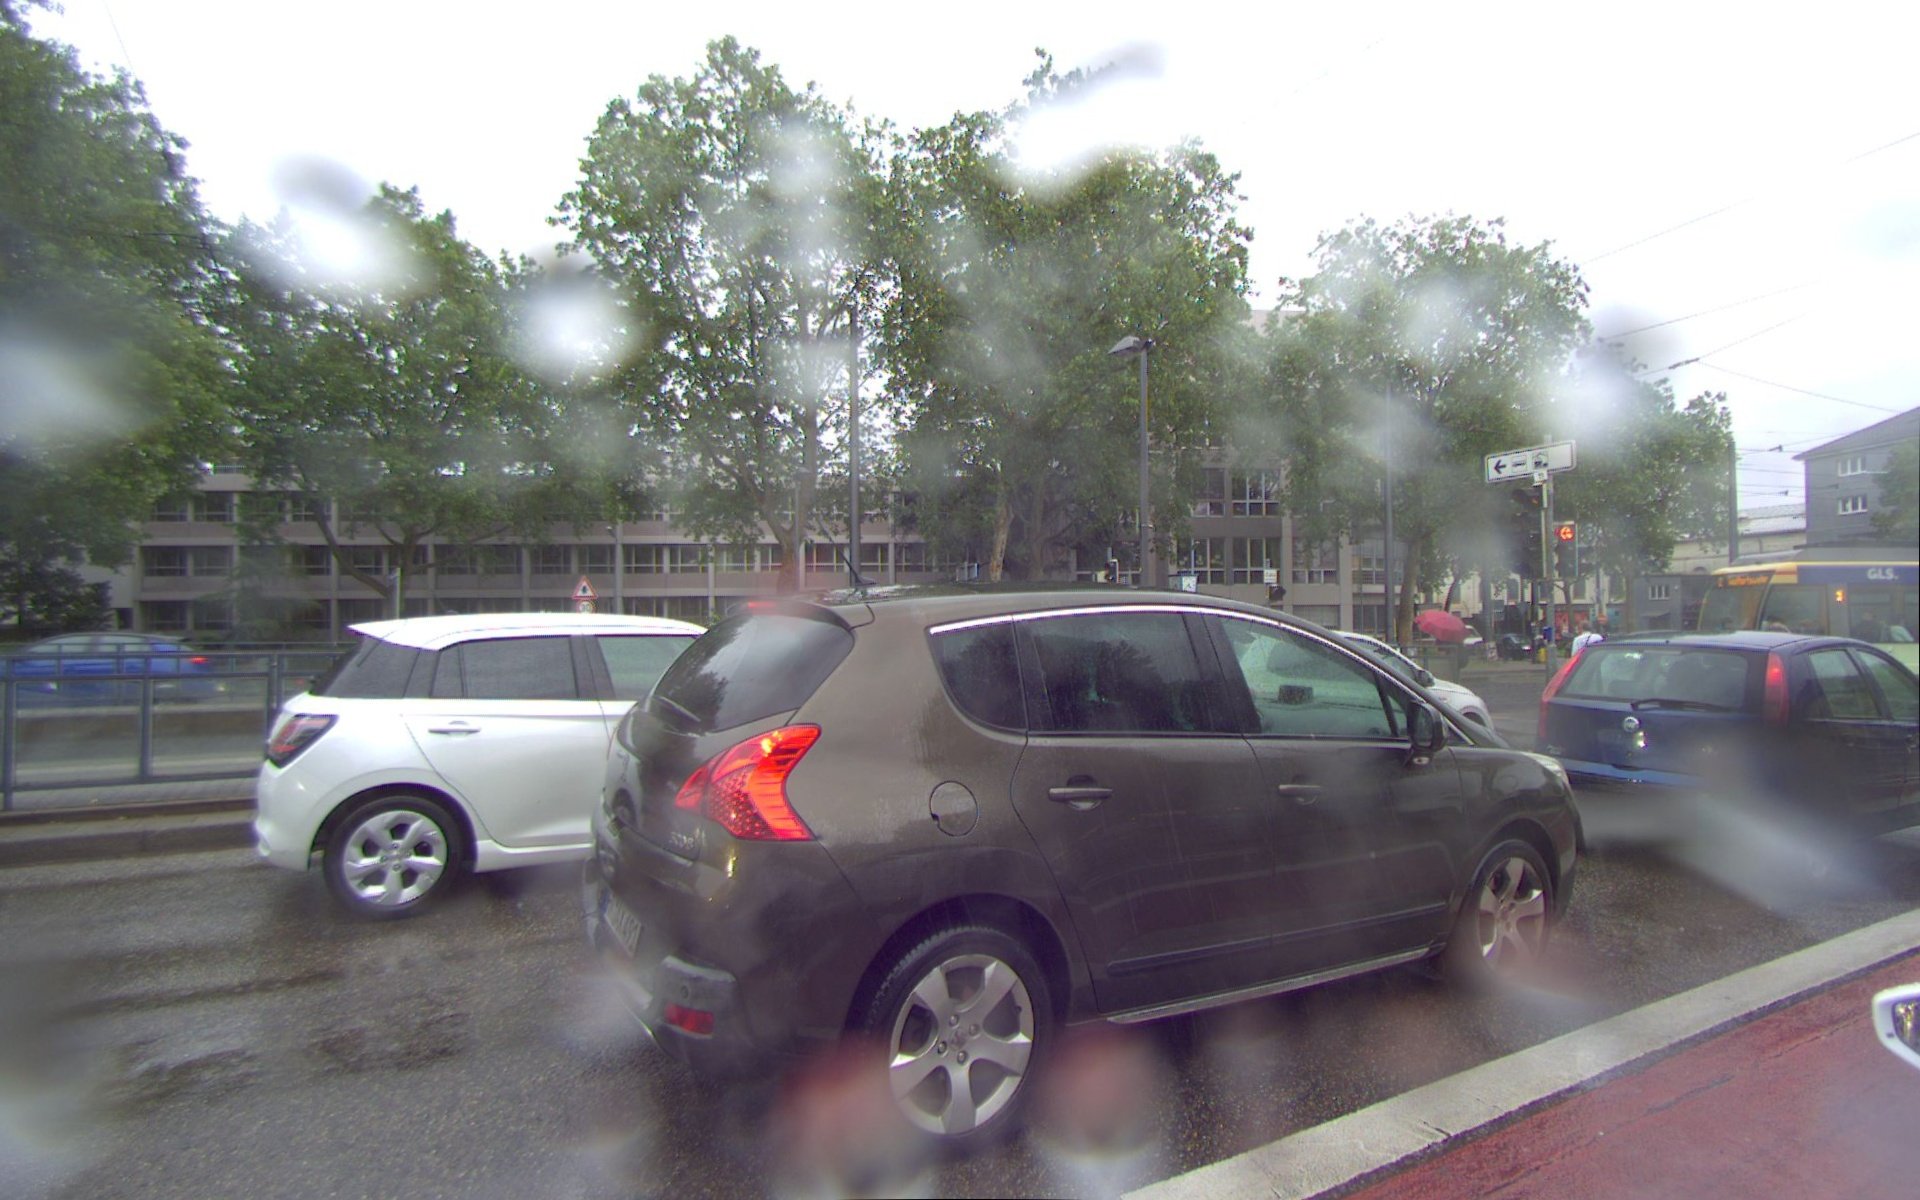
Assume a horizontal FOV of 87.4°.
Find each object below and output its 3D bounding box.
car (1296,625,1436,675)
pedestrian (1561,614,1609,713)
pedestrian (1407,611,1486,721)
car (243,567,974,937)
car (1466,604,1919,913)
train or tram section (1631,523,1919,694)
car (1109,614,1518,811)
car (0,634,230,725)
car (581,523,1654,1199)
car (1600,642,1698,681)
[{"bbox_3d":[11.587,1.417,28.685,3.466,1.331,1.594,1,-1,-16],"label":"car"},{"bbox_3d":[10.666,1.059,17.127,0.617,1.628,0.739,1,0,37],"label":"pedestrian"},{"bbox_3d":[8.110,1.087,16.756,0.888,1.769,0.762,0,-3,-30],"label":"pedestrian"},{"bbox_3d":[-1.952,0.734,6.161,3.791,1.650,1.637,1,-2,-30],"label":"car"},{"bbox_3d":[5.447,0.869,6.932,3.776,1.599,1.719,1,-1,-30],"label":"car"},{"bbox_3d":[23.456,0.320,23.297,13.391,3.559,3.524,2,0,-1],"label":"train or tram section"},{"bbox_3d":[3.395,0.930,9.507,3.737,1.514,1.621,1,-1,-30],"label":"car"},{"bbox_3d":[-15.258,1.334,17.419,3.953,1.405,1.984,2,-1,-30],"label":"car"},{"bbox_3d":[0.782,0.717,4.114,4.124,1.690,1.825,1,-1,-30],"label":"car"},{"bbox_3d":[27.182,2.389,39.605,3.953,1.405,1.637,2,-1,-30],"label":"car"}]
